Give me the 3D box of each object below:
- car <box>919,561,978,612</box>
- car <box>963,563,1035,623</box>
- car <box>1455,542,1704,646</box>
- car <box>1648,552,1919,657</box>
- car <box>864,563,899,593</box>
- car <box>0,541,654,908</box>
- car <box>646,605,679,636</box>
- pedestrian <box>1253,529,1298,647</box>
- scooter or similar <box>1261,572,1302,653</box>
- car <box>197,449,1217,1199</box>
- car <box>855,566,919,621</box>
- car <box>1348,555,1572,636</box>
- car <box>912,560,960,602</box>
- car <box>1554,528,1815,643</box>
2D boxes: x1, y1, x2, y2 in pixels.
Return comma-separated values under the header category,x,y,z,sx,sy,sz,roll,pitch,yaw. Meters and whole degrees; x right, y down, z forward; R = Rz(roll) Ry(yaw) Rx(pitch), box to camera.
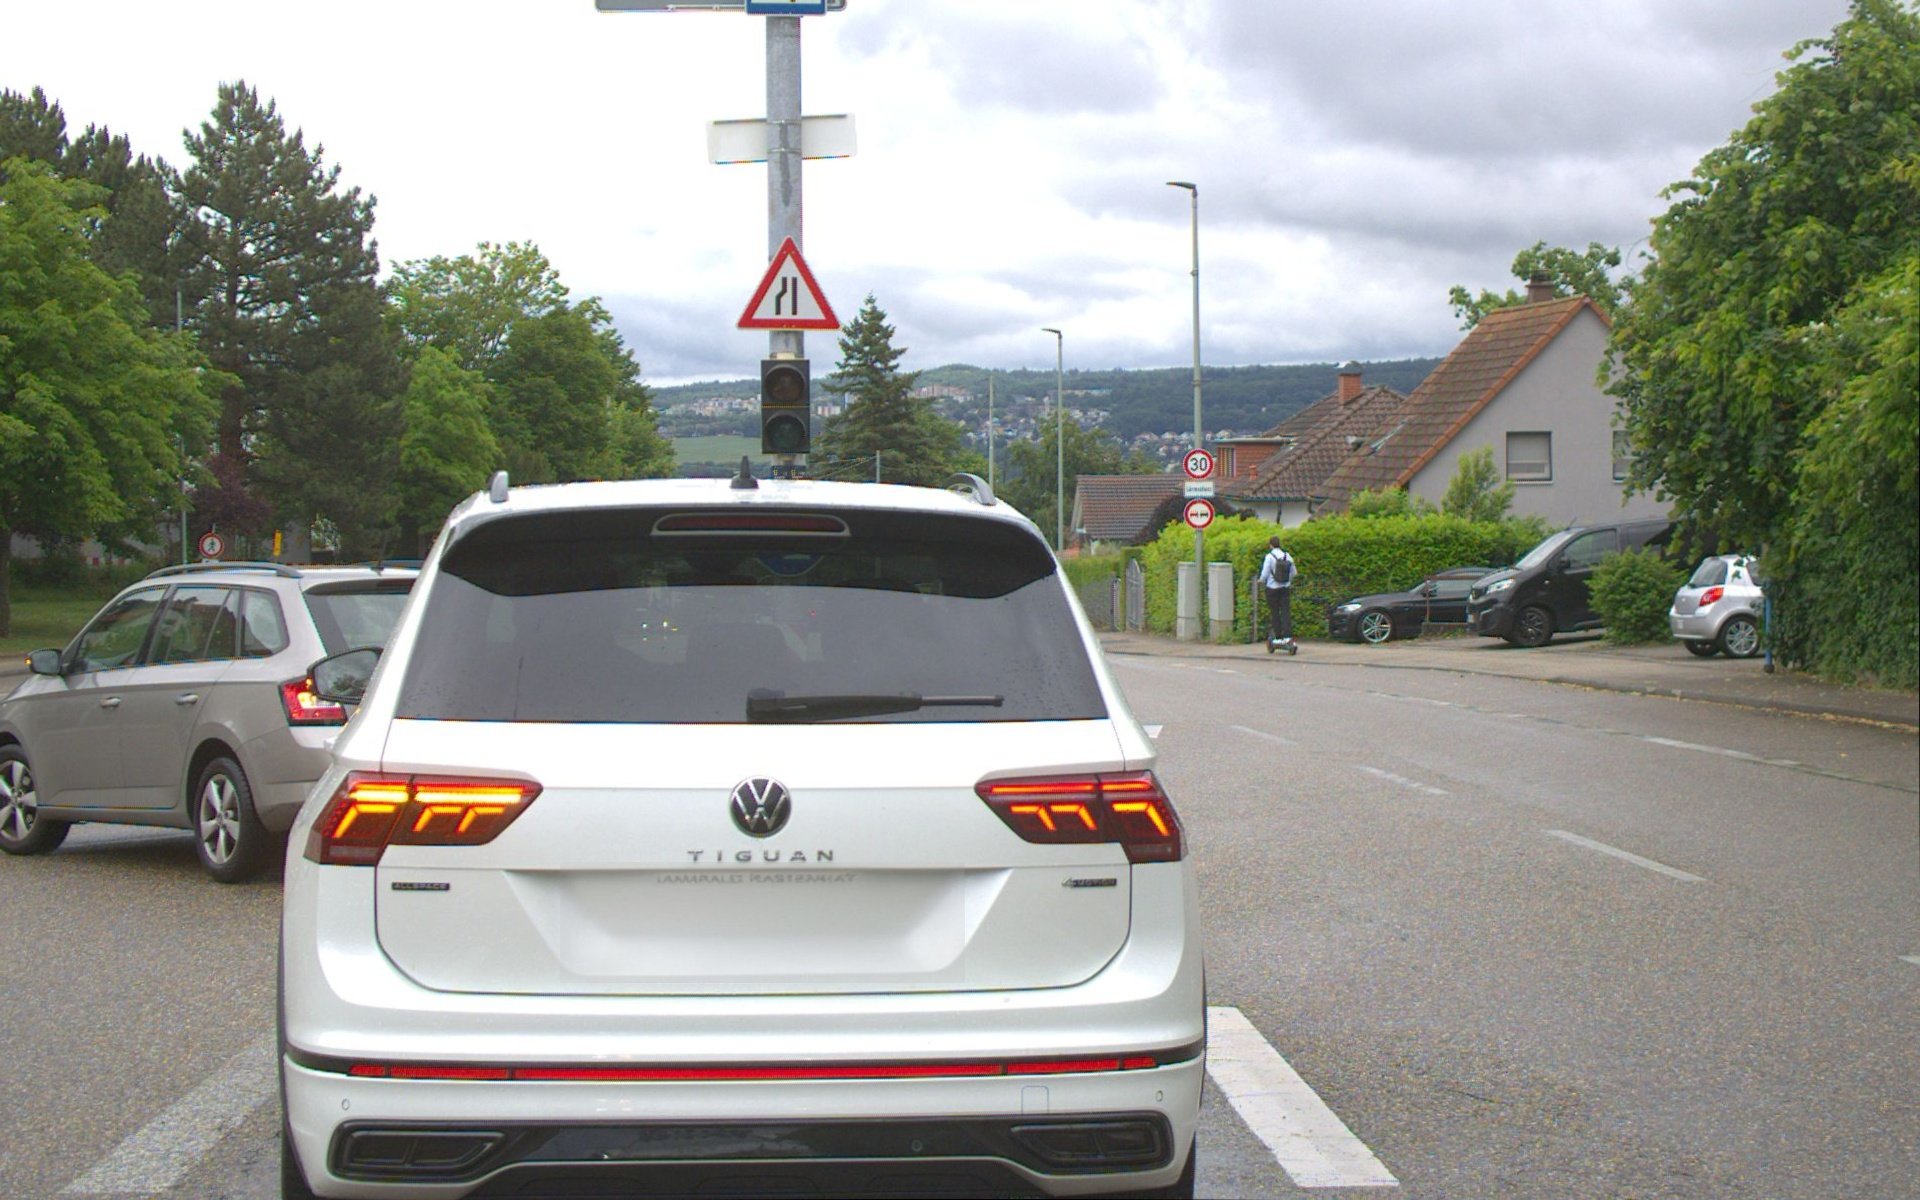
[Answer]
category,x,y,z,sx,sy,sz,roll,pitch,yaw
car,-0.387,-0.446,111.414,1.850,1.569,4.000,-1,1,-1
car,1.032,-0.167,92.993,1.850,1.569,4.000,1,-1,-1
car,10.036,-0.120,55.819,3.627,1.620,1.792,-1,1,-5
car,11.686,0.055,47.977,3.713,1.390,1.729,-1,0,-8
car,-4.408,-1.248,193.470,1.850,1.569,4.000,-1,1,-1
car,-3.351,0.520,17.063,1.799,1.584,3.925,-1,1,-38
car,-17.326,1.159,200.287,1.844,1.711,4.001,0,1,-4
pedestrian,5.376,-0.204,58.588,0.655,1.995,0.718,0,1,-4
scooter or similar,5.475,0.201,58.581,0.461,1.356,1.385,0,1,-4
car,-0.503,0.550,8.105,1.762,1.690,4.273,0,1,-2
car,-1.985,-0.184,93.390,1.664,1.422,4.305,1,0,-1
car,8.795,-0.068,60.629,3.687,1.365,1.519,0,-1,-2
car,-0.952,-0.762,136.418,1.850,1.569,4.000,-1,1,-1
car,11.237,-0.239,53.425,3.627,1.740,1.708,0,1,-4
